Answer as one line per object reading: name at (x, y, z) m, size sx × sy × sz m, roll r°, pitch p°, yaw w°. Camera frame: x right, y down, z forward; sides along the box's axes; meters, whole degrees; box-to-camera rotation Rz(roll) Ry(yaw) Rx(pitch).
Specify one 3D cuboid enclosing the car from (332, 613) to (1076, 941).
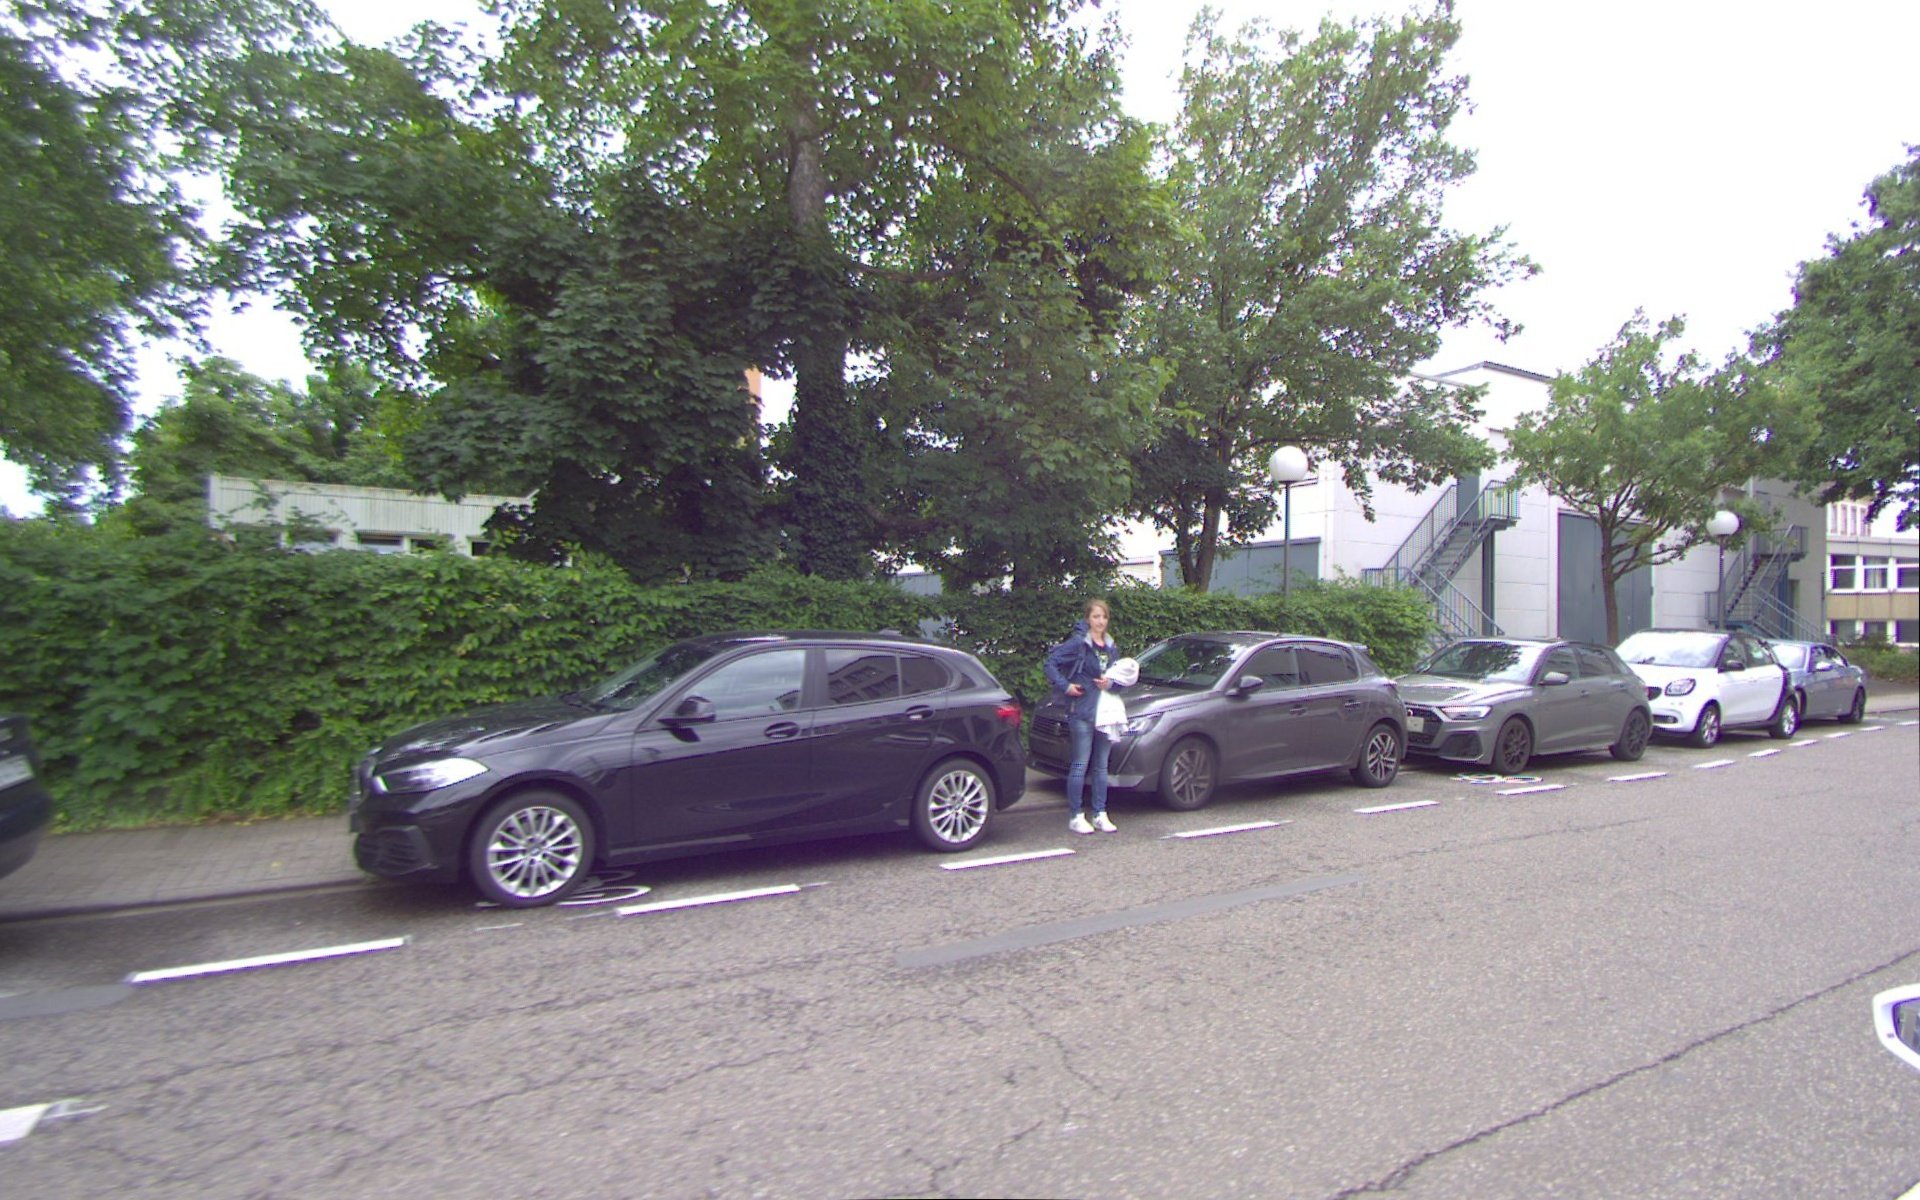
car at (-1.543, 0.905, 6.775) m, size 4.477 × 1.581 × 1.789 m, roll 1°, pitch -2°, yaw -31°

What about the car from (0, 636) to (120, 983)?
car at (-6.131, 0.836, 3.712) m, size 4.280 × 1.426 × 1.792 m, roll 2°, pitch -2°, yaw -27°

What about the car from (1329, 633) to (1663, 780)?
car at (6.372, 1.125, 11.848) m, size 3.964 × 1.430 × 1.754 m, roll 1°, pitch -1°, yaw -32°

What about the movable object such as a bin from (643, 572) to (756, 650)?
movable object such as a bin at (-8.020, 0.409, 30.649) m, size 1.979 × 2.200 × 4.629 m, roll 2°, pitch -3°, yaw -33°

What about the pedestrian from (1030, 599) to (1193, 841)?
pedestrian at (1.133, 0.849, 7.564) m, size 0.956 × 1.683 × 0.735 m, roll 0°, pitch -2°, yaw -30°

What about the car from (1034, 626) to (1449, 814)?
car at (2.767, 1.025, 9.702) m, size 3.780 × 1.490 × 1.753 m, roll 2°, pitch -2°, yaw -31°

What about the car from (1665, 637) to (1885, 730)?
car at (14.305, 1.381, 17.573) m, size 4.149 × 1.407 × 1.807 m, roll 1°, pitch -1°, yaw -33°

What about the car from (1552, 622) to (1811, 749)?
car at (10.520, 1.133, 14.595) m, size 3.833 × 1.607 × 1.707 m, roll 1°, pitch -1°, yaw -31°
